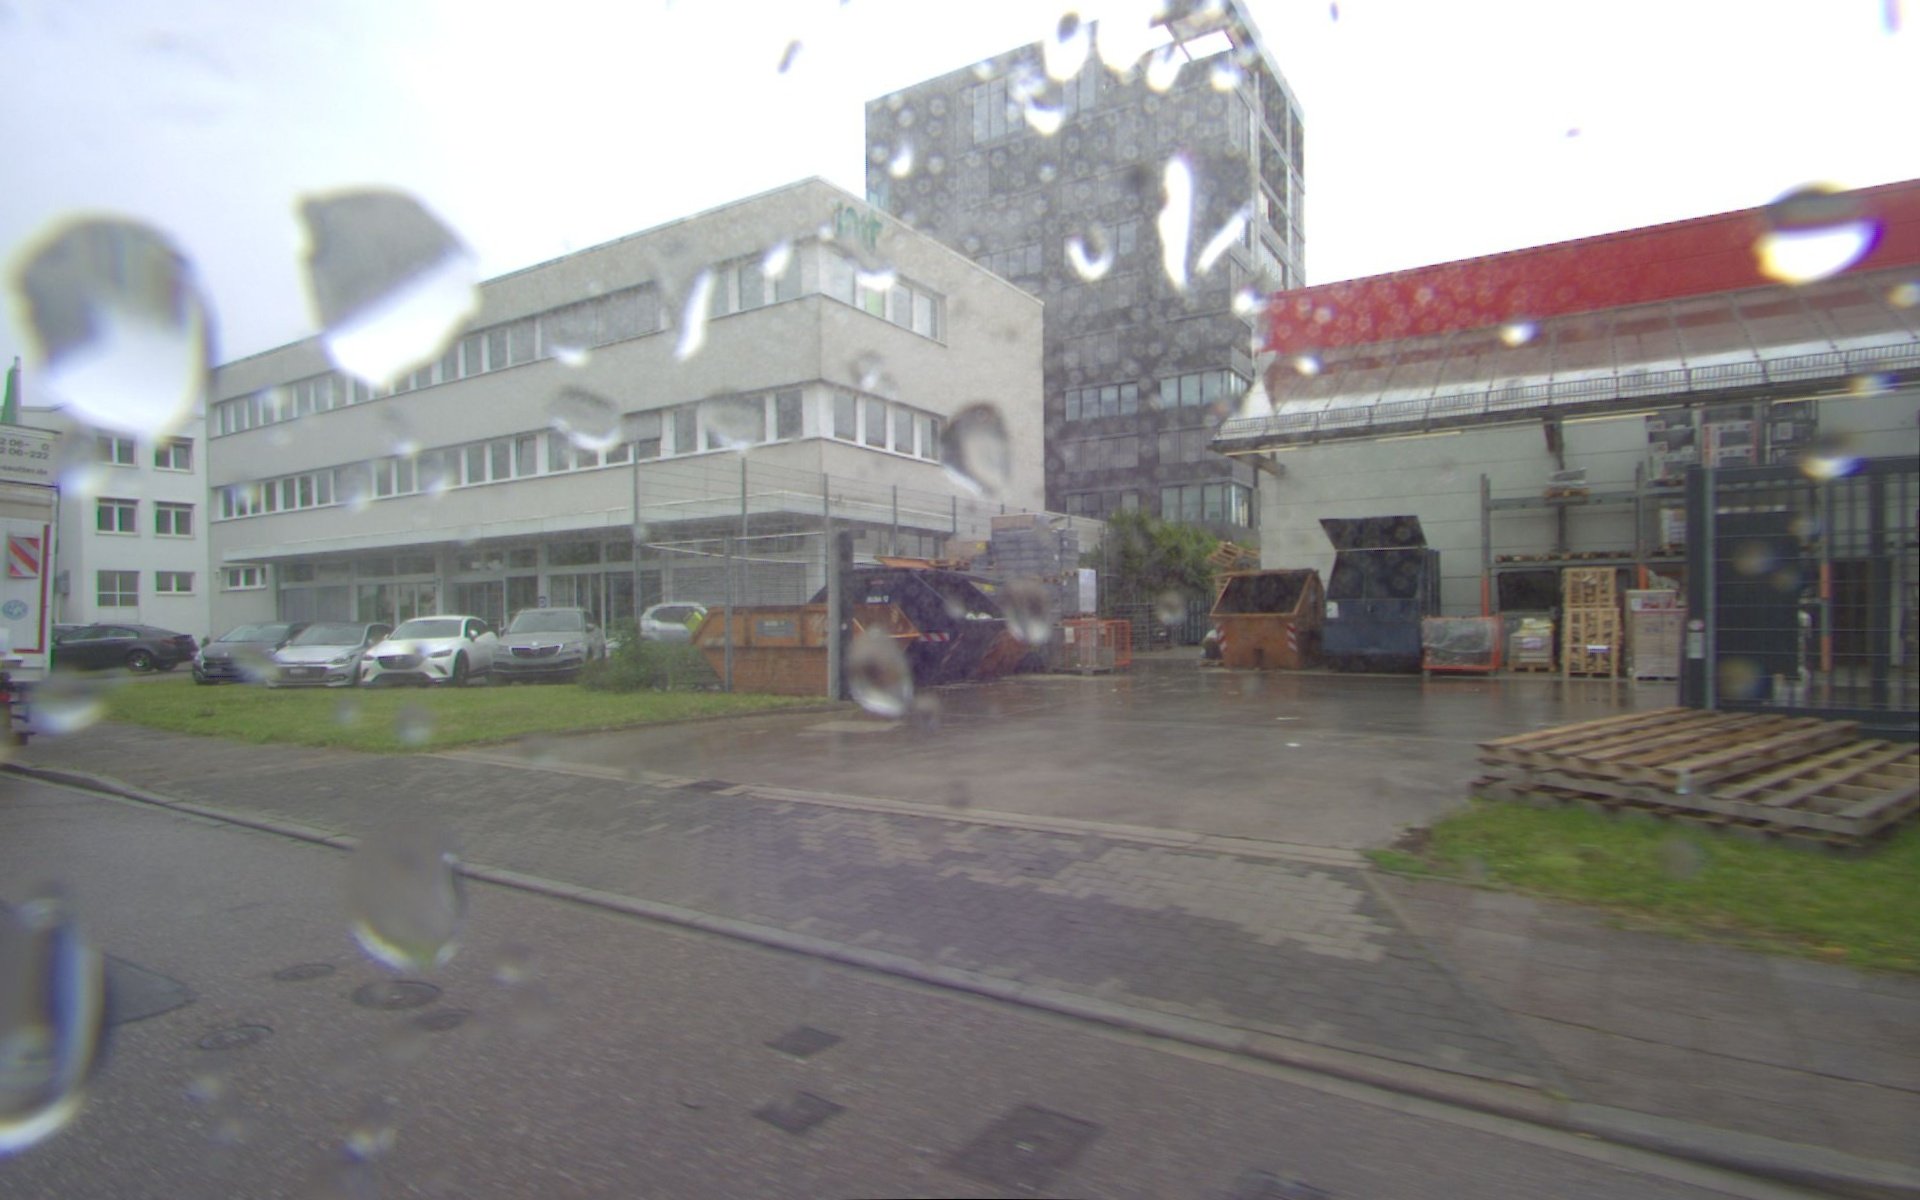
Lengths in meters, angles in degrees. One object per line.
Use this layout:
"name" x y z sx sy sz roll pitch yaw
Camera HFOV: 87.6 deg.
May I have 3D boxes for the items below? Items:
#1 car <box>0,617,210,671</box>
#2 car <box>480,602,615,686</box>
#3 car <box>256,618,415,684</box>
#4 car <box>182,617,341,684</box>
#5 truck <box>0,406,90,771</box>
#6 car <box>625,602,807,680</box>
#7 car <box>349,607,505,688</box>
"car" -25.831 1.285 30.351 4.595 1.487 1.787 0 0 -19
"car" -8.393 0.839 20.709 1.838 1.547 3.997 0 -1 -11
"car" -13.740 1.072 22.319 1.675 1.303 3.997 0 -1 -11
"car" -16.403 1.135 23.743 1.675 1.411 3.765 0 -1 -11
"truck" -14.272 -0.084 12.527 9.171 3.836 2.736 -1 -3 34
"car" -5.912 0.949 24.152 4.084 1.728 1.989 -1 -1 33
"car" -10.895 0.913 20.785 1.742 1.489 3.997 0 -1 -11
